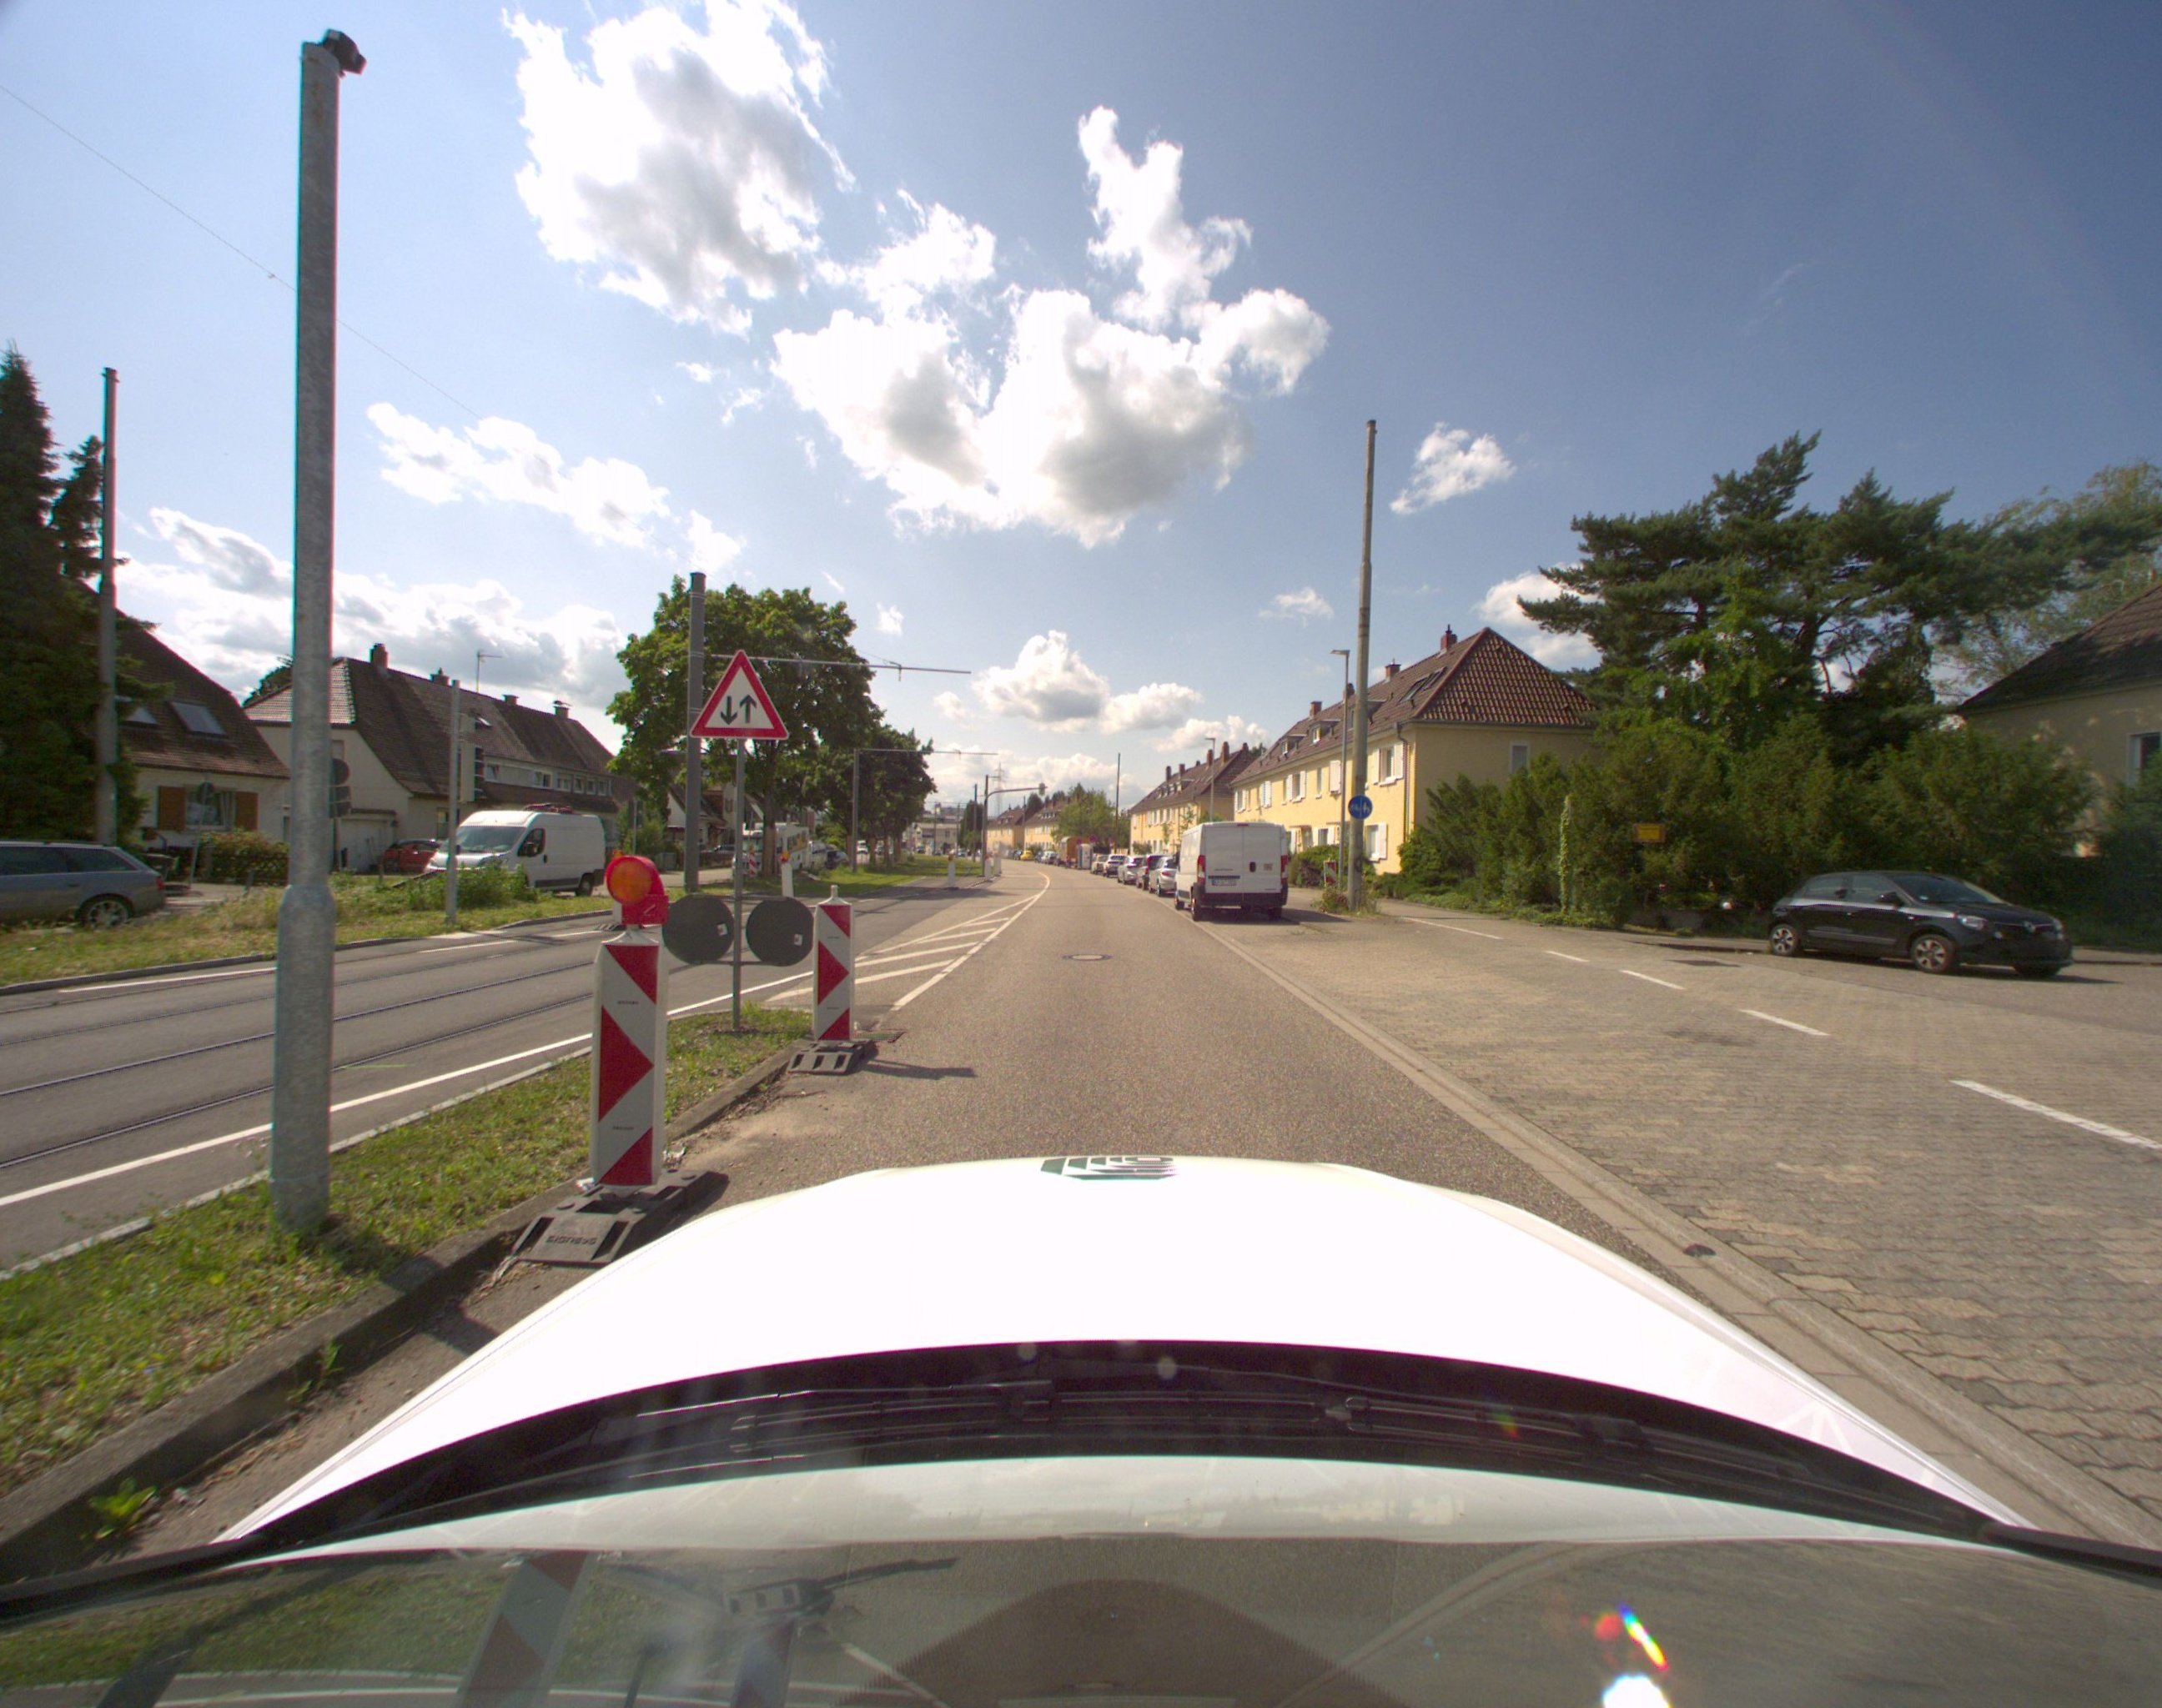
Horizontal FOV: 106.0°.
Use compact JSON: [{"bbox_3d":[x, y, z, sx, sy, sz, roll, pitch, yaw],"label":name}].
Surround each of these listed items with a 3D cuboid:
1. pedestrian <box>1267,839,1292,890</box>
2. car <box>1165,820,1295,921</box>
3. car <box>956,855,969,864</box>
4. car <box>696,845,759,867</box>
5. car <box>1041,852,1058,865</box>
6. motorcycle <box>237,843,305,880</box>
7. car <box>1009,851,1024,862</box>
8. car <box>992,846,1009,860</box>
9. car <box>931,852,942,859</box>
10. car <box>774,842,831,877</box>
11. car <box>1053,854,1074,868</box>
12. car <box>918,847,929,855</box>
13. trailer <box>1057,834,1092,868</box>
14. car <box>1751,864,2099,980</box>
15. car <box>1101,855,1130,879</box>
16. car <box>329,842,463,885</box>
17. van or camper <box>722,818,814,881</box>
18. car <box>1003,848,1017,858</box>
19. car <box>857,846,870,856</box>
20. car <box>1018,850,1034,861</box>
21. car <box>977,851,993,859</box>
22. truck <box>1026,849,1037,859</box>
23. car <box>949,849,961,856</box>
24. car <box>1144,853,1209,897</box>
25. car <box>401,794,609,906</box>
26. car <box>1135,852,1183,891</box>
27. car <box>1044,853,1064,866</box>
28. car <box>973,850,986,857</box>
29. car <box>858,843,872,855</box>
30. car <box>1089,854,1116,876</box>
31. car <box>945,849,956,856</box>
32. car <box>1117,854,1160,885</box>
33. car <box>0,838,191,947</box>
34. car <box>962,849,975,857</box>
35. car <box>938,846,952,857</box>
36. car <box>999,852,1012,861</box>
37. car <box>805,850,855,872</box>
[{"bbox_3d":[7.853,0.411,32.286,0.770,2.013,0.761,1,0,-2],"label":"pedestrian"},{"bbox_3d":[3.578,0.352,20.888,2.268,2.182,6.369,0,0,1],"label":"car"},{"bbox_3d":[-21.397,0.967,146.850,1.669,1.449,3.938,-2,1,-16],"label":"car"},{"bbox_3d":[-26.620,0.159,61.407,3.987,1.530,1.868,2,0,-10],"label":"car"},{"bbox_3d":[-3.972,0.573,101.715,1.577,1.513,4.444,1,0,-10],"label":"car"},{"bbox_3d":[-26.796,0.234,26.974,0.495,1.169,1.791,1,0,-4],"label":"motorcycle"},{"bbox_3d":[-10.260,0.383,129.224,1.640,1.602,3.908,1,0,-17],"label":"car"},{"bbox_3d":[-14.157,-0.220,142.787,1.934,2.481,5.486,0,0,-17],"label":"car"},{"bbox_3d":[-30.272,0.216,170.861,1.729,1.389,4.096,1,0,-18],"label":"car"},{"bbox_3d":[-16.800,0.308,49.409,1.990,2.013,4.897,1,0,-4],"label":"car"},{"bbox_3d":[-1.911,0.740,88.938,1.577,1.449,4.438,1,0,-10],"label":"car"},{"bbox_3d":[-36.991,-0.738,191.000,1.961,1.966,5.260,0,0,-19],"label":"car"},{"bbox_3d":[-0.653,-0.260,80.579,2.689,3.226,5.066,1,0,-9],"label":"trailer"},{"bbox_3d":[13.121,0.952,13.047,1.623,1.547,3.807,1,-1,-1],"label":"car"},{"bbox_3d":[2.206,0.792,52.651,1.524,1.481,3.804,0,0,-4],"label":"car"},{"bbox_3d":[-26.242,0.361,31.297,3.609,1.522,1.669,1,0,-3],"label":"car"},{"bbox_3d":[-16.058,-0.206,42.277,2.371,2.970,7.285,1,0,-4],"label":"van or camper"},{"bbox_3d":[-11.597,-0.157,132.984,1.639,1.602,4.008,1,0,-15],"label":"car"},{"bbox_3d":[-41.574,-0.552,155.520,1.881,1.768,5.066,1,0,-9],"label":"car"},{"bbox_3d":[-8.021,0.163,118.745,1.638,1.482,3.914,-2,1,-13],"label":"car"},{"bbox_3d":[-18.277,0.277,154.978,1.805,1.458,4.732,-1,0,-21],"label":"car"},{"bbox_3d":[-8.662,0.020,141.911,1.349,1.688,2.428,1,0,-16],"label":"truck"},{"bbox_3d":[-28.433,-0.368,183.536,1.770,1.439,3.973,-1,1,-20],"label":"car"},{"bbox_3d":[3.430,0.715,29.973,1.704,1.504,4.250,0,0,-3],"label":"car"},{"bbox_3d":[-15.321,-0.092,22.112,2.147,2.668,4.913,1,0,-1],"label":"car"},{"bbox_3d":[3.280,0.706,34.947,1.623,1.550,3.807,0,0,-1],"label":"car"},{"bbox_3d":[-3.195,0.636,96.693,1.707,1.449,4.818,1,0,-10],"label":"car"},{"bbox_3d":[-19.896,-0.154,159.904,1.626,1.417,3.973,-1,1,-20],"label":"car"},{"bbox_3d":[-49.738,-1.206,187.618,2.083,2.721,6.947,-1,1,-24],"label":"car"},{"bbox_3d":[1.530,0.759,58.914,1.461,1.502,4.101,0,0,-6],"label":"car"},{"bbox_3d":[-30.159,-0.419,188.246,1.770,1.502,3.973,-1,1,-20],"label":"car"},{"bbox_3d":[2.809,0.738,40.718,1.745,1.497,4.383,0,0,-1],"label":"car"},{"bbox_3d":[-15.452,0.513,10.932,1.686,1.465,4.755,1,0,1],"label":"car"},{"bbox_3d":[-23.240,-0.222,168.345,1.770,1.417,3.973,-1,1,-20],"label":"car"},{"bbox_3d":[-32.388,-0.623,194.017,1.967,2.478,6.017,-1,1,-21],"label":"car"},{"bbox_3d":[-12.779,0.372,137.631,1.539,1.445,3.717,1,0,-15],"label":"car"},{"bbox_3d":[-16.853,0.433,54.919,1.846,1.387,4.808,1,0,0],"label":"car"}]
